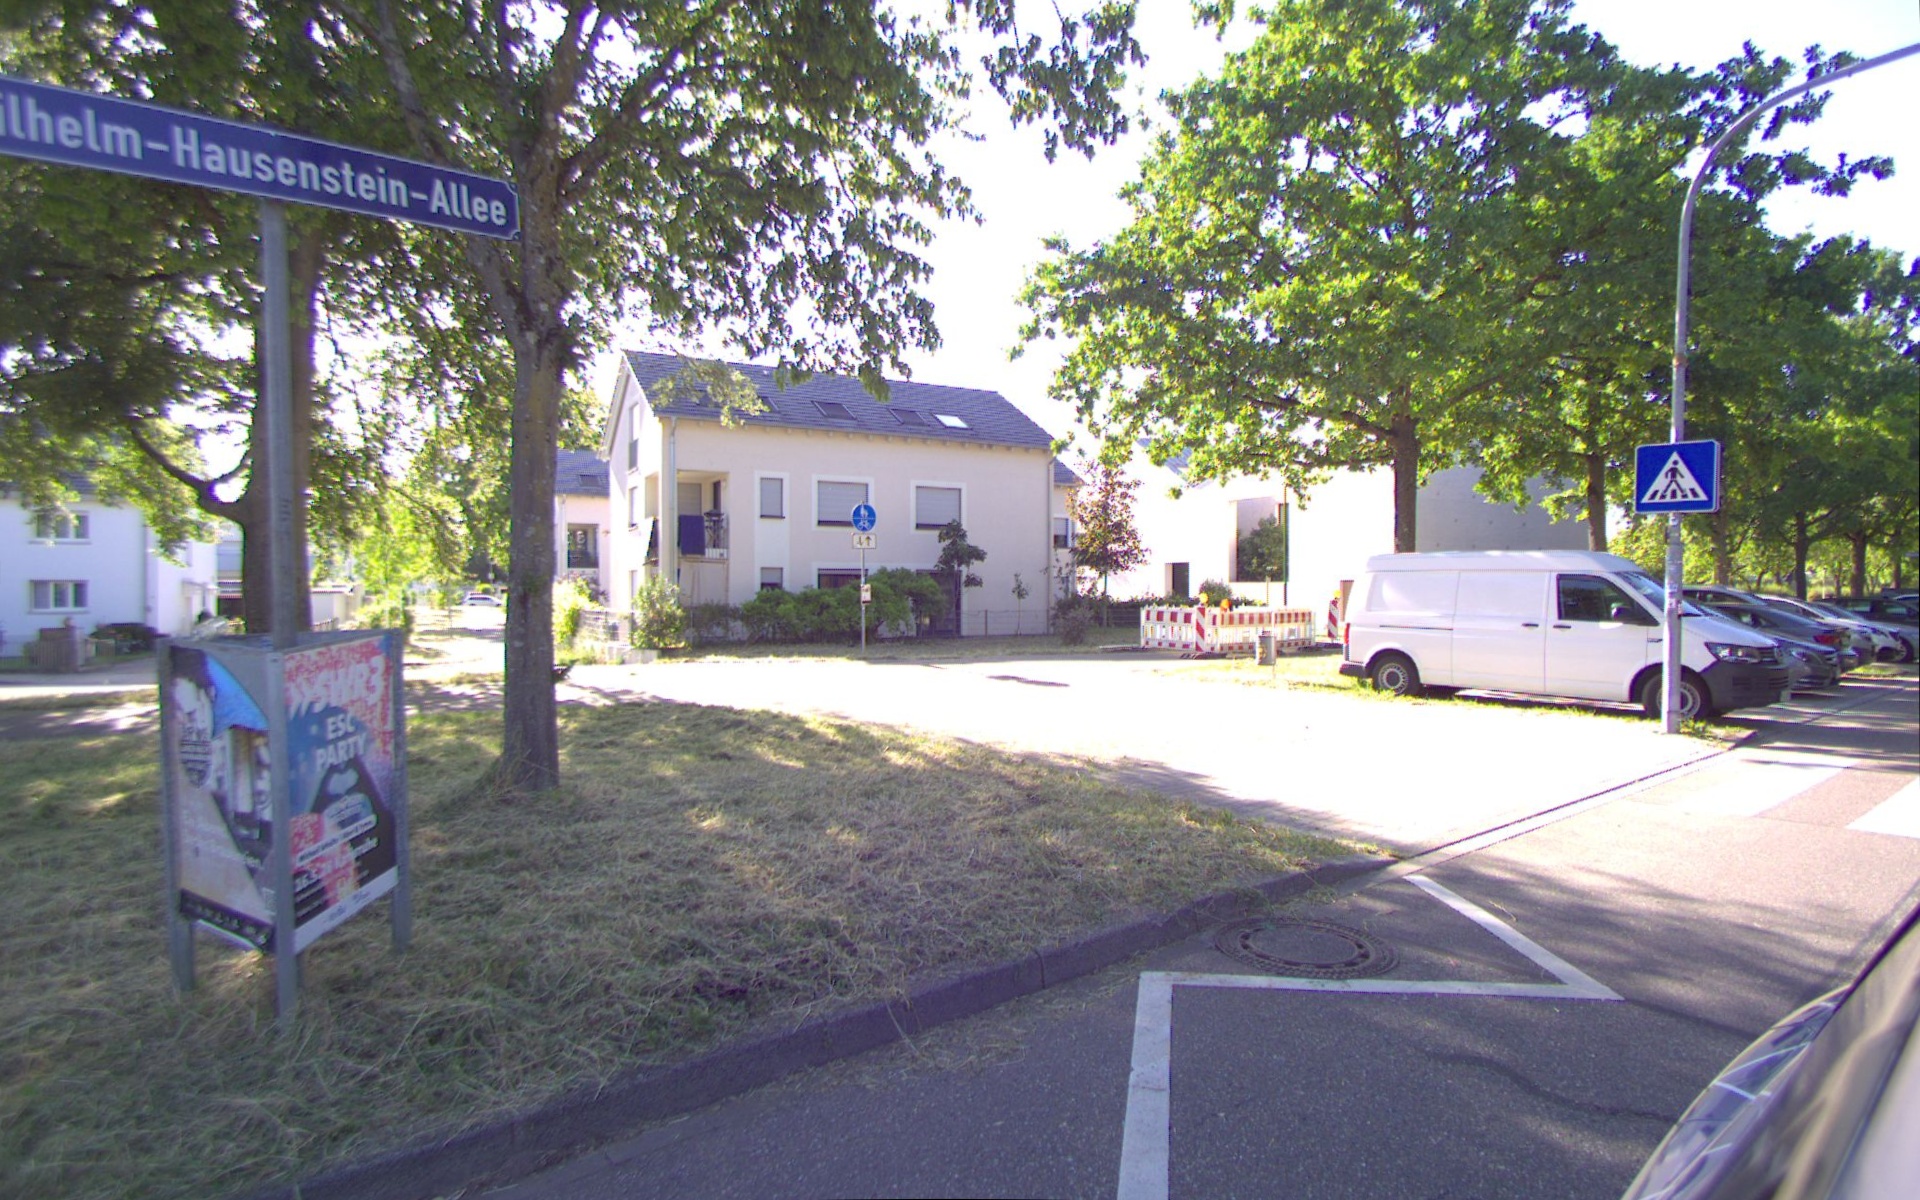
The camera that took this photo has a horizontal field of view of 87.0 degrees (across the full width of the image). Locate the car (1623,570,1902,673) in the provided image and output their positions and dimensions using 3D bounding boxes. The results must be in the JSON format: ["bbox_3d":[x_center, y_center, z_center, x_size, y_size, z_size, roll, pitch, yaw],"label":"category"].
[{"bbox_3d":[15.695,0.379,19.980,1.681,1.816,4.020,0,0,-37],"label":"car"}]

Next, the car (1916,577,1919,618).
[{"bbox_3d":[43.453,-0.111,42.653,1.504,1.765,4.396,0,0,-37],"label":"car"}]

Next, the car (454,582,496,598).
[{"bbox_3d":[-62.418,-1.292,130.312,4.543,2.039,1.995,0,0,-43],"label":"car"}]

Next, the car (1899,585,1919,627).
[{"bbox_3d":[41.430,0.230,41.259,1.504,1.765,4.396,0,0,-37],"label":"car"}]

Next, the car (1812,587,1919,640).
[{"bbox_3d":[30.416,0.431,32.548,1.504,1.662,4.396,0,0,-37],"label":"car"}]

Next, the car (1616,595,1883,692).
[{"bbox_3d":[13.990,0.707,18.098,1.421,1.561,3.517,0,0,-37],"label":"car"}]

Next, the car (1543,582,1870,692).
[{"bbox_3d":[12.091,0.532,16.628,1.725,1.583,3.997,0,0,-37],"label":"car"}]

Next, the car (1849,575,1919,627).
[{"bbox_3d":[37.901,0.028,39.627,1.504,2.013,4.396,0,0,-37],"label":"car"}]

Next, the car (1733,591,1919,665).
[{"bbox_3d":[21.509,0.631,24.641,1.504,1.681,4.020,0,0,-37],"label":"car"}]

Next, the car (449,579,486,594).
[{"bbox_3d":[-68.242,-1.928,140.246,4.524,2.039,2.003,0,0,-24],"label":"car"}]

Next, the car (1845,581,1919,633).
[{"bbox_3d":[32.937,0.228,34.162,1.504,1.765,4.396,0,0,-37],"label":"car"}]

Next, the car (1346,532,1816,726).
[{"bbox_3d":[8.004,0.265,13.566,1.857,2.107,5.045,0,1,-39],"label":"car"}]

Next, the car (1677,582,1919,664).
[{"bbox_3d":[18.985,0.488,23.089,1.504,1.700,4.020,0,0,-37],"label":"car"}]

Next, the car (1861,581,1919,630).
[{"bbox_3d":[35.957,0.191,36.919,1.504,1.765,4.396,0,0,-37],"label":"car"}]
